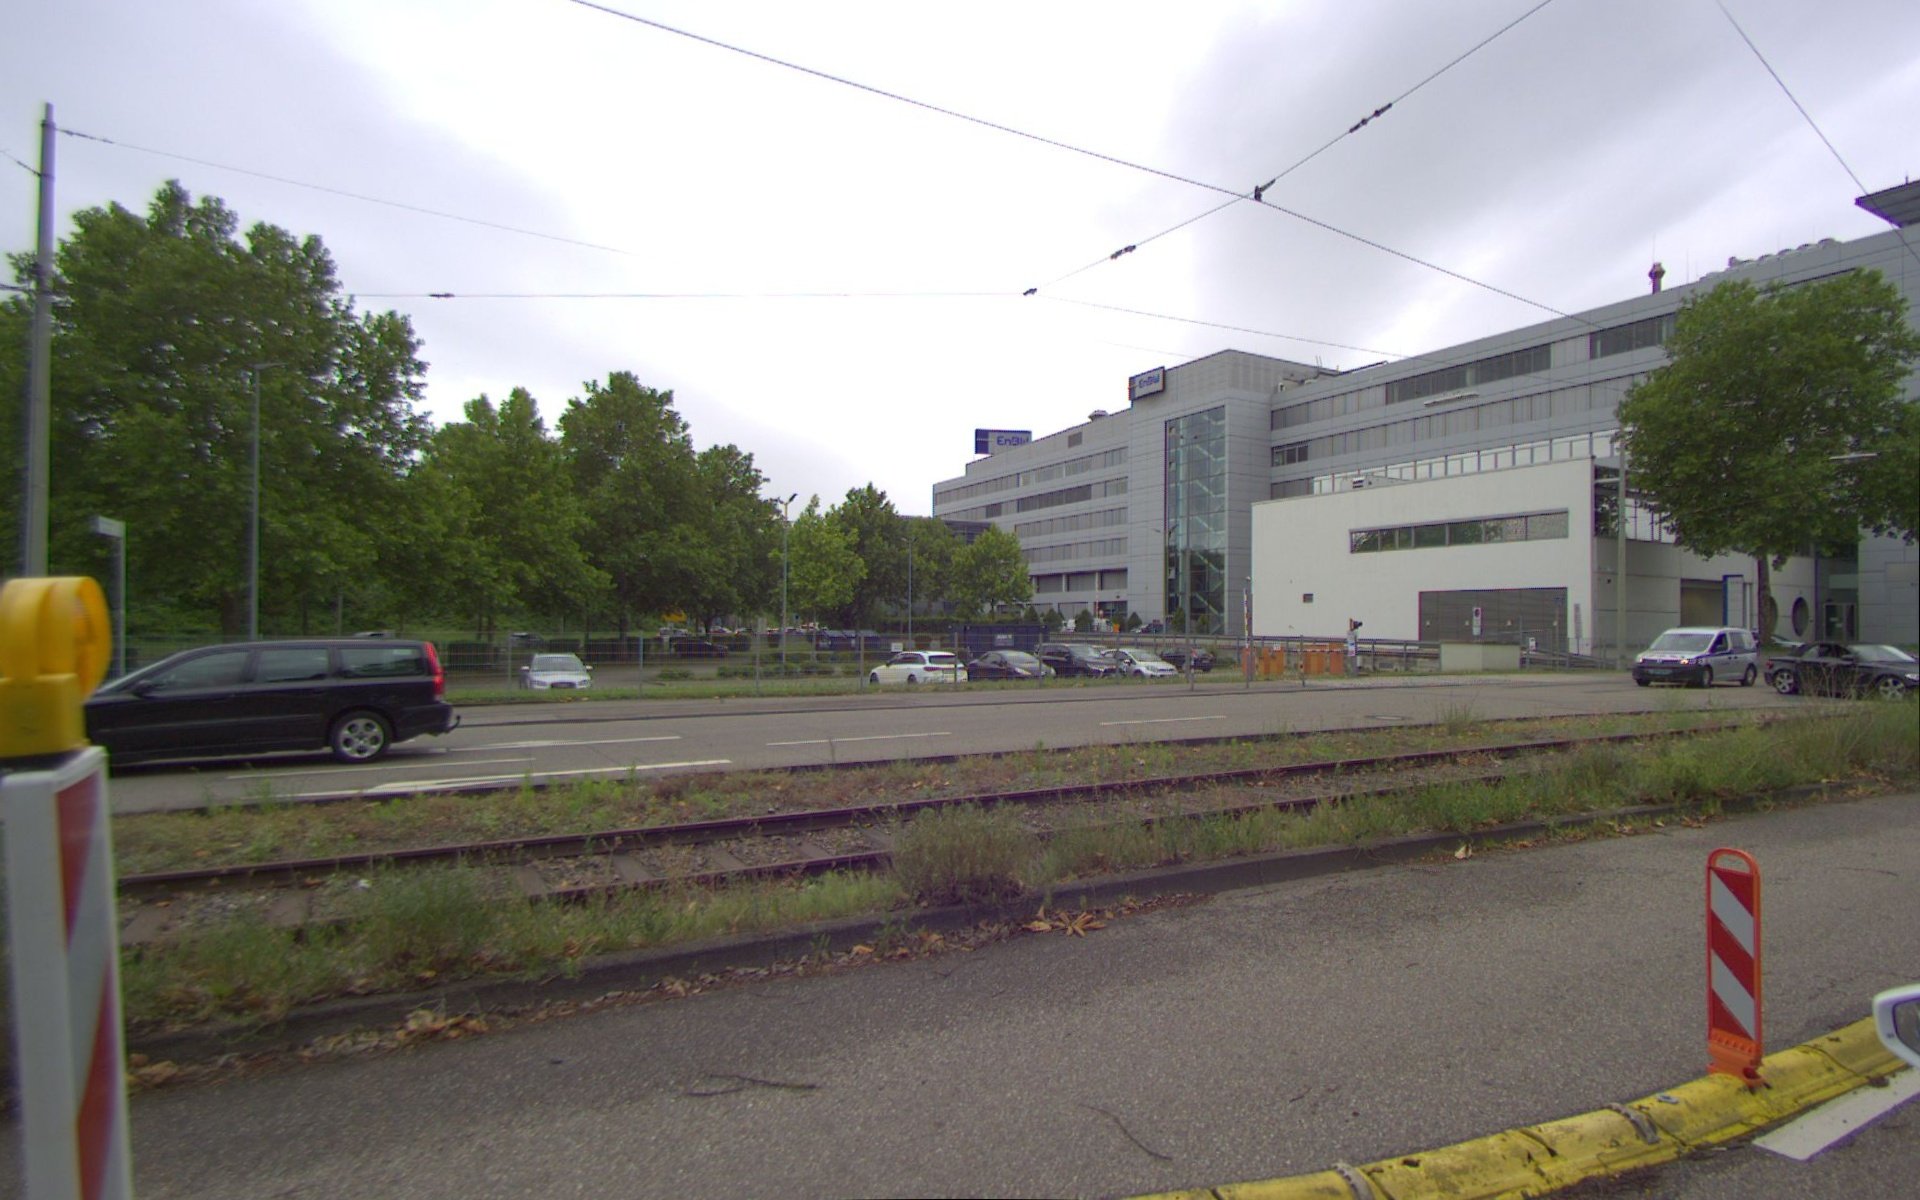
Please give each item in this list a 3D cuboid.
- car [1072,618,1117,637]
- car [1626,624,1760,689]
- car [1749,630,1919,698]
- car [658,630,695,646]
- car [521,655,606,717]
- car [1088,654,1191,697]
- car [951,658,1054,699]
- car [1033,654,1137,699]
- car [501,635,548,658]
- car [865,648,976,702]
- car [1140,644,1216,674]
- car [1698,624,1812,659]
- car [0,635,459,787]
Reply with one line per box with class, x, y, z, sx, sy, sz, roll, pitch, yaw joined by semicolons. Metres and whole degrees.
car;14.513;2.953;108.406;4.593;2.040;1.985;1;-2;-29
car;21.972;1.651;30.078;4.379;1.806;1.809;2;-2;-33
car;21.727;1.544;24.276;1.791;1.494;4.127;2;-3;-7
car;-30.689;4.122;108.857;1.928;1.548;5.013;1;0;8
car;-11.516;2.409;29.007;1.888;1.552;4.196;1;-2;-27
car;7.032;2.947;39.673;1.891;1.505;3.966;1;-2;-31
car;1.503;2.827;36.761;1.891;1.332;3.966;1;-2;-31
car;4.693;2.857;38.145;1.891;1.505;3.966;1;-2;-31
car;-33.915;3.607;78.344;1.742;1.674;3.671;1;0;6
car;-1.448;2.530;34.826;1.891;1.655;4.503;1;-2;-31
car;11.897;3.205;55.078;1.891;1.505;3.966;1;-2;-31
car;42.727;2.213;54.081;1.805;1.692;4.487;2;0;-32
car;-8.397;1.164;11.730;4.379;1.492;1.809;2;-2;-33
